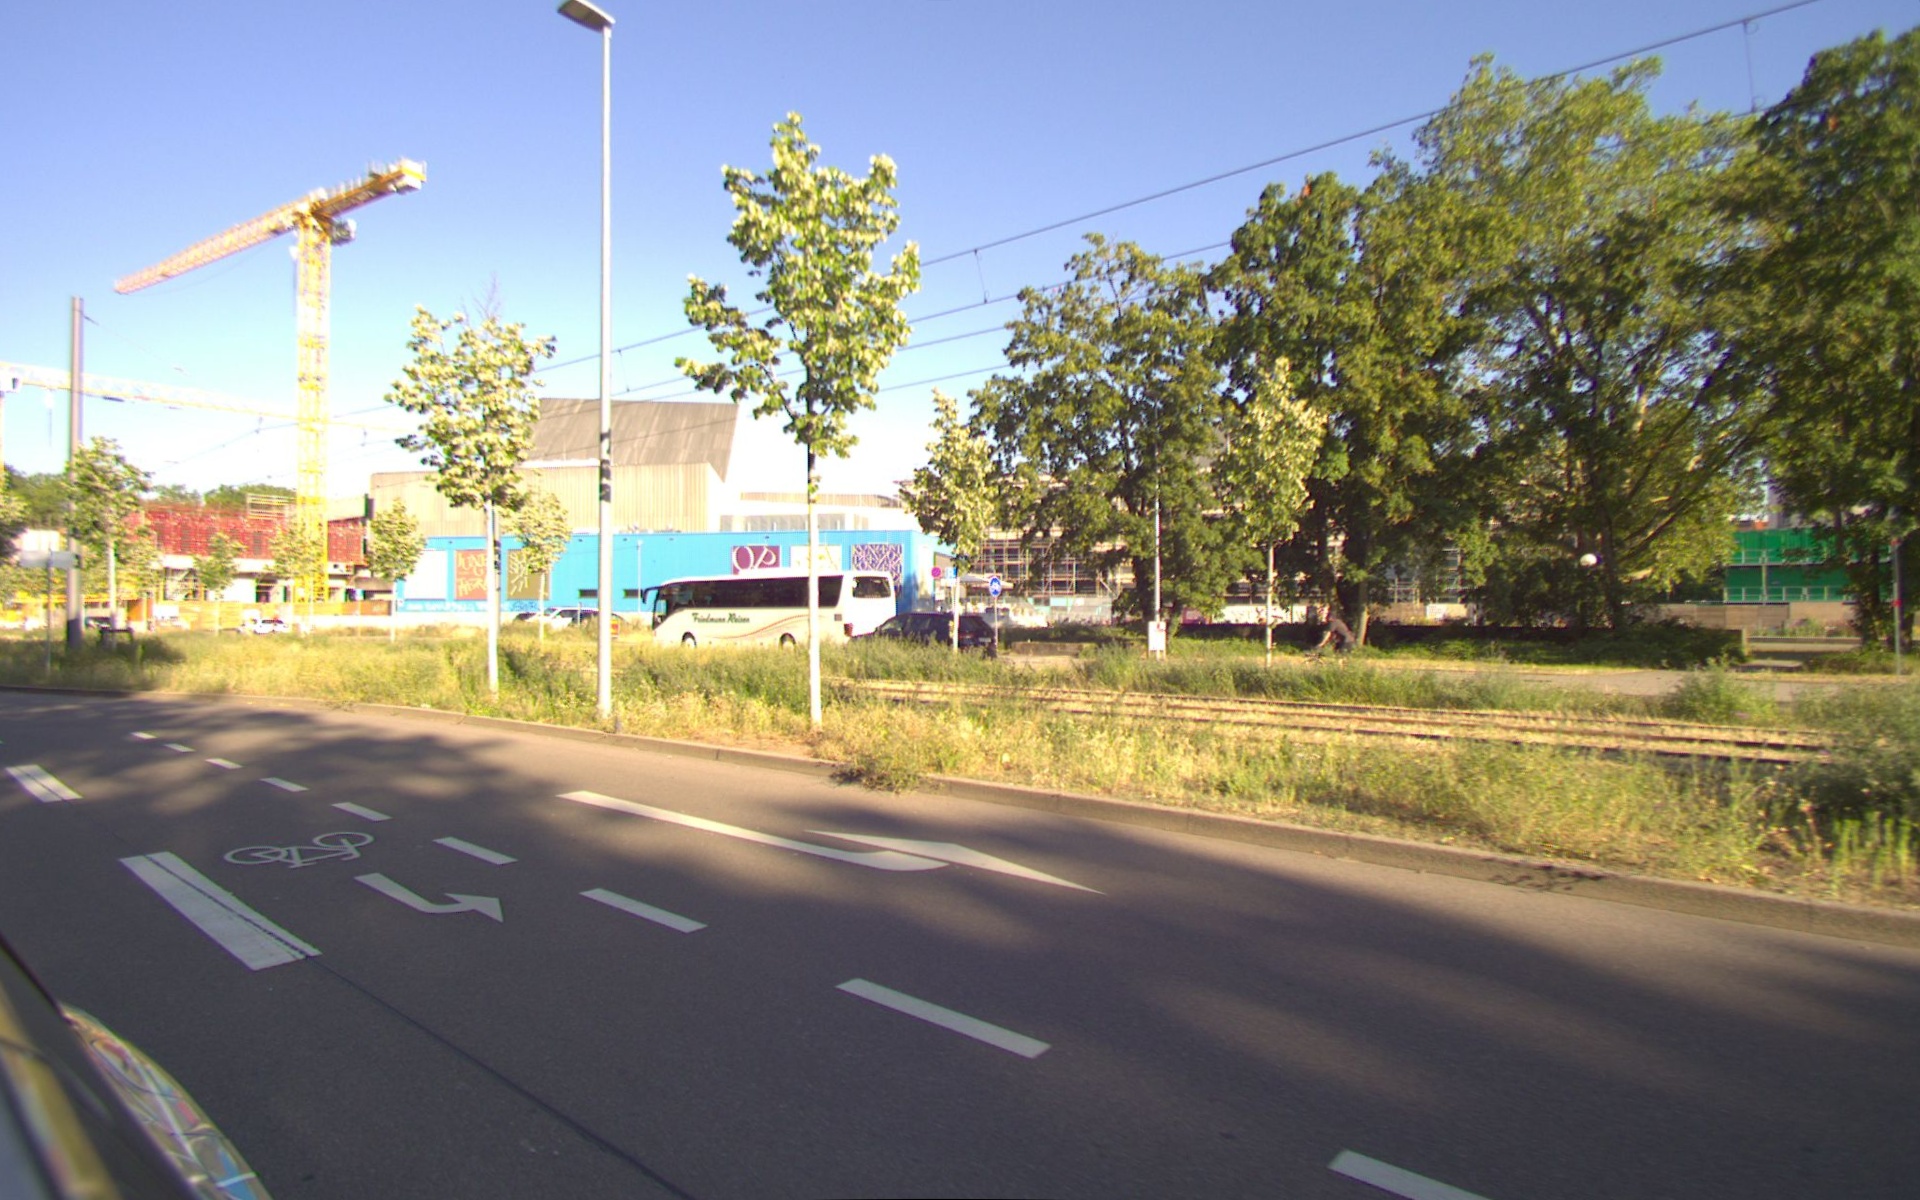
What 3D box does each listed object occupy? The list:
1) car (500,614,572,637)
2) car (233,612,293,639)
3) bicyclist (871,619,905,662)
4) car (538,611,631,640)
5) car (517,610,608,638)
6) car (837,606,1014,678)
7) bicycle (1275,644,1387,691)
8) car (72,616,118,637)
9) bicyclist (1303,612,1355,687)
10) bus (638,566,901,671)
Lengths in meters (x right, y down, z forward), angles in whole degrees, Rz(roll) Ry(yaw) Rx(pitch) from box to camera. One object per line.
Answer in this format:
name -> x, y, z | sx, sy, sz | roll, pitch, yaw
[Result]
car -> -27.953, 1.672, 66.830 | 1.997, 1.496, 3.949 | -1, -1, 37
car -> -43.449, 1.568, 63.043 | 4.162, 1.655, 1.974 | -1, -1, 39
bicyclist -> -2.303, 1.284, 32.489 | 0.870, 1.357, 0.681 | -1, -1, 39
car -> -23.613, 1.567, 63.863 | 2.122, 1.730, 5.177 | -1, -1, 37
car -> -25.713, 1.544, 65.684 | 2.122, 1.730, 5.177 | -1, -1, 37
car -> -1.004, 1.091, 27.327 | 4.809, 1.779, 1.852 | -1, -1, 40
bicycle -> 8.634, 1.549, 23.636 | 2.360, 1.010, 0.680 | -1, -1, 41
car -> -69.316, 2.116, 81.106 | 4.265, 1.663, 1.975 | -1, -1, 38
bicyclist -> 8.621, 1.143, 23.646 | 0.953, 1.721, 0.680 | -1, -2, 41
bus -> -7.949, 0.730, 40.117 | 12.685, 3.622, 2.771 | -1, -1, 39
